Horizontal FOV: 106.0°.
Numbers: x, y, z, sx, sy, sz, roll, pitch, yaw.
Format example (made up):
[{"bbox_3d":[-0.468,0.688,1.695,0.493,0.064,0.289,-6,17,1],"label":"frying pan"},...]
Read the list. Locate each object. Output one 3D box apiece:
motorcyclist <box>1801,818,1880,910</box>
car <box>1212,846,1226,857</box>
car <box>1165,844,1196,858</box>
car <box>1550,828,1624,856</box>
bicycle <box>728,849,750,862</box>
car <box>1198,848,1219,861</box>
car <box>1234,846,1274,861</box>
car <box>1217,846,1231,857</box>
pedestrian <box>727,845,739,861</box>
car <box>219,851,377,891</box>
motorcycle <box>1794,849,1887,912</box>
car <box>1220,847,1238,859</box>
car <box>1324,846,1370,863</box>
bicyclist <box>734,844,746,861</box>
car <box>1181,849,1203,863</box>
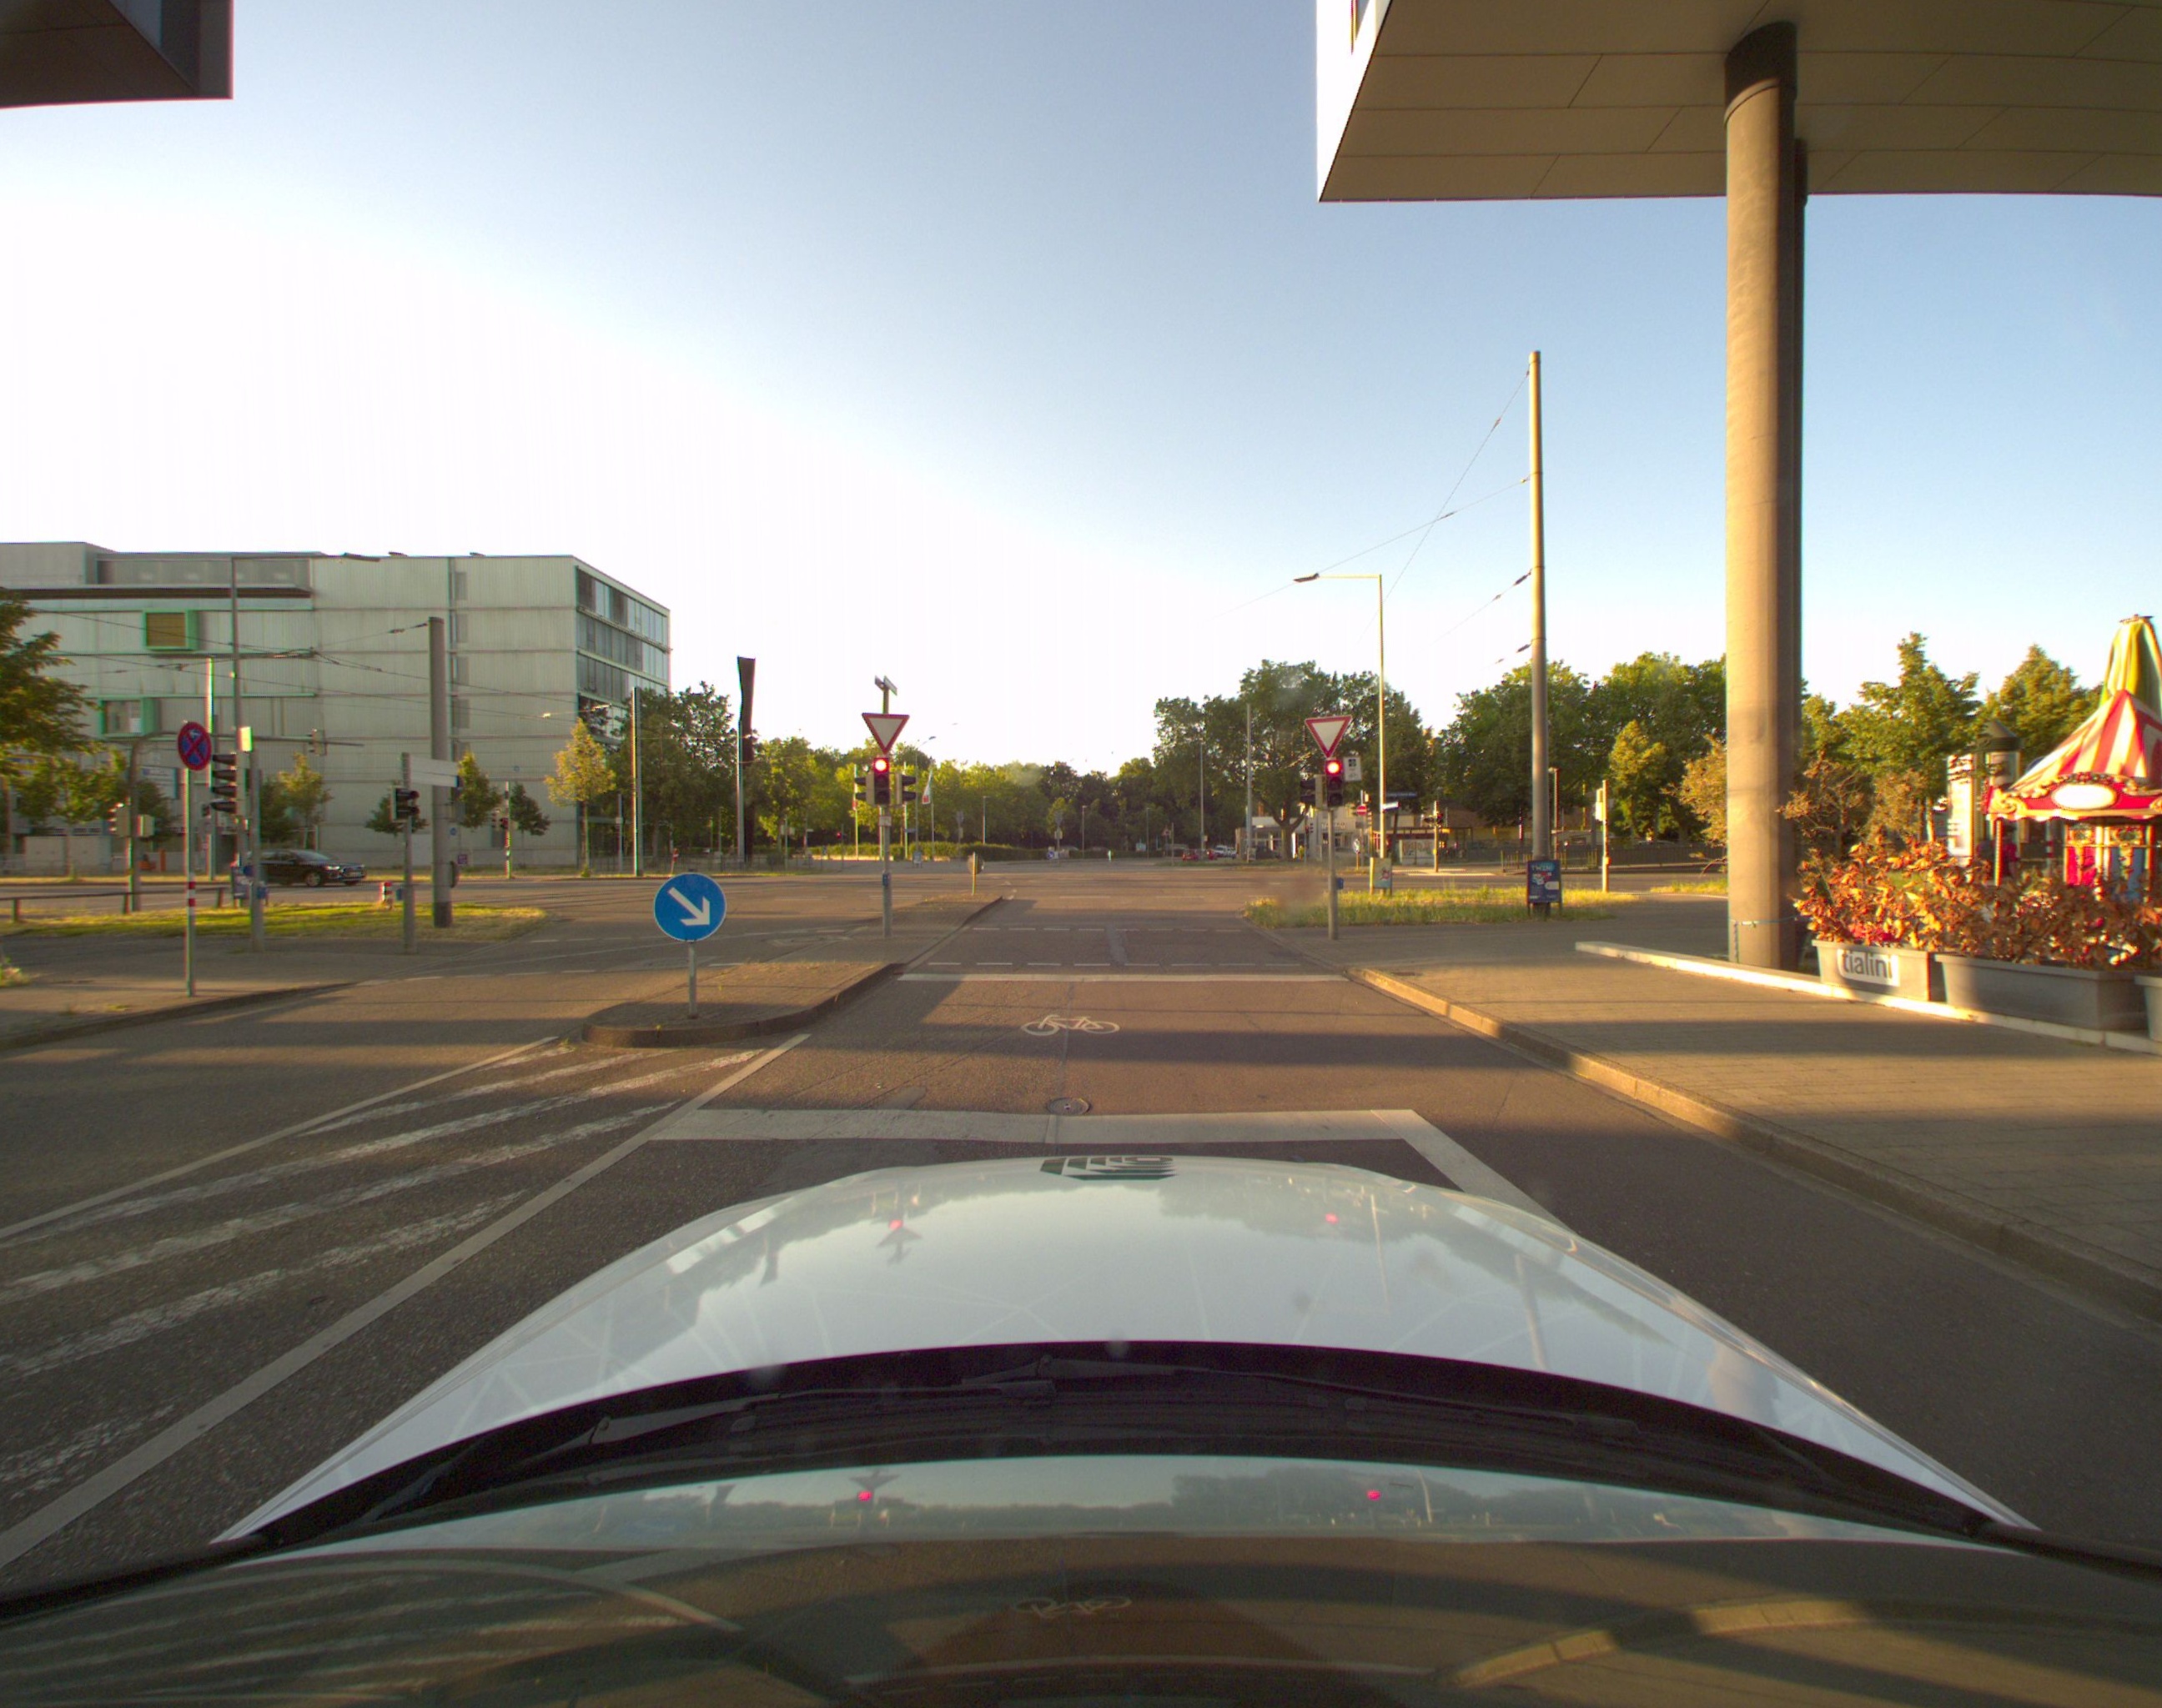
[{"bbox_3d":[14.893,0.185,15.986,0.896,1.746,0.676,-1,0,1],"label":"motorcyclist"},{"bbox_3d":[22.211,-0.412,130.962,1.850,1.794,4.013,-1,-1,12],"label":"car"},{"bbox_3d":[15.359,-0.489,125.809,4.753,2.006,2.002,-1,-1,3],"label":"car"},{"bbox_3d":[47.889,-1.119,77.137,5.561,2.551,2.235,-1,0,9],"label":"car"},{"bbox_3d":[-35.200,0.168,83.797,2.656,1.341,0.737,0,0,36],"label":"bicycle"},{"bbox_3d":[16.157,0.090,103.260,1.978,1.662,4.018,-1,-1,17],"label":"car"},{"bbox_3d":[18.877,-0.090,88.982,4.194,1.552,2.005,-1,-1,9],"label":"car"},{"bbox_3d":[23.874,-0.425,135.820,1.849,1.794,4.015,-1,-1,14],"label":"car"},{"bbox_3d":[-38.652,-0.131,90.507,0.852,1.744,0.835,0,0,23],"label":"pedestrian"},{"bbox_3d":[-32.538,0.693,33.963,4.467,1.557,1.986,-1,0,-4],"label":"car"},{"bbox_3d":[14.883,0.506,15.976,1.306,1.188,0.567,-1,0,1],"label":"motorcycle"},{"bbox_3d":[21.034,-0.141,115.382,1.978,1.662,4.018,-1,-1,17],"label":"car"},{"bbox_3d":[23.445,0.020,71.959,3.715,1.440,1.669,-1,-1,11],"label":"car"},{"bbox_3d":[-35.125,-0.146,83.797,0.908,1.709,0.758,0,0,37],"label":"bicyclist"},{"bbox_3d":[13.057,0.263,95.639,1.978,1.662,4.018,-1,-1,17],"label":"car"}]
